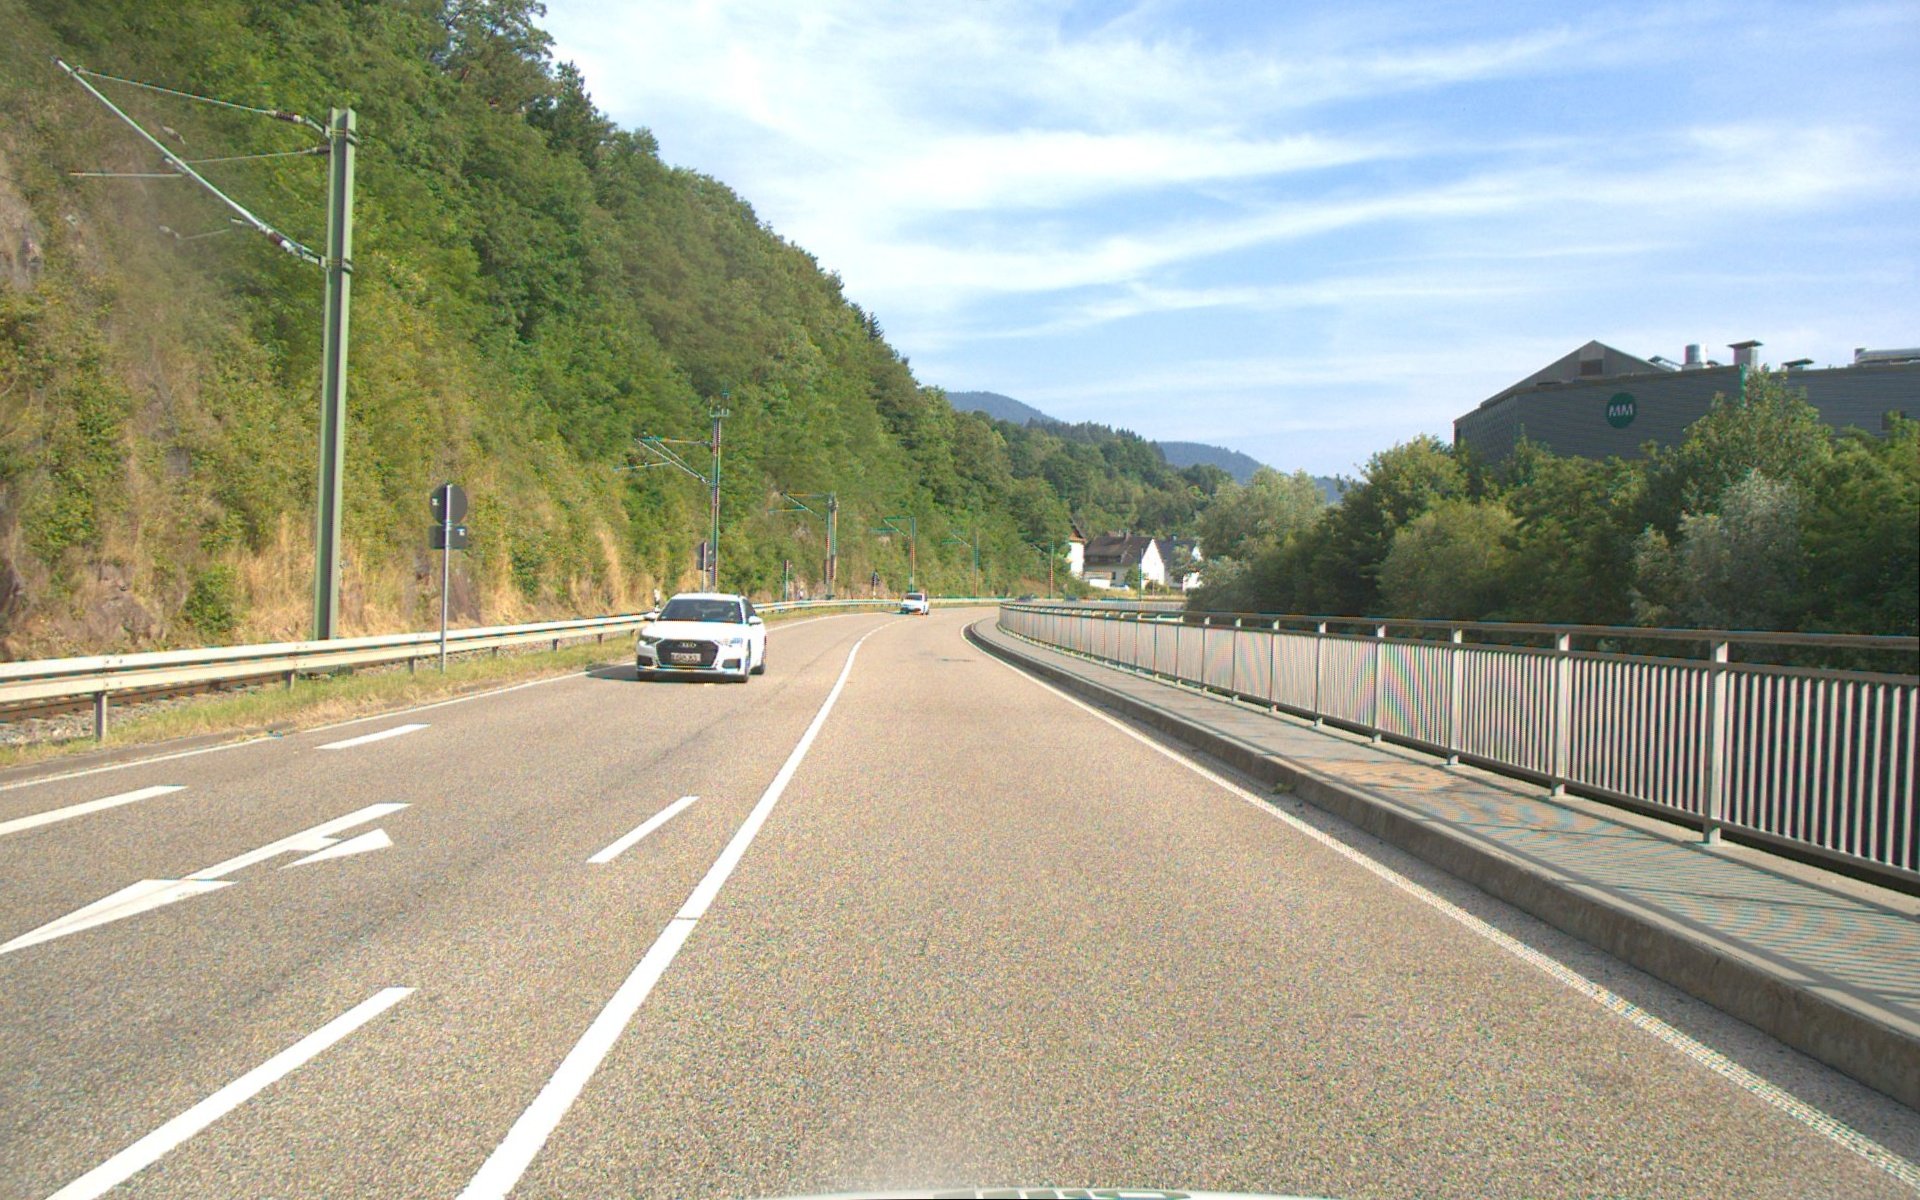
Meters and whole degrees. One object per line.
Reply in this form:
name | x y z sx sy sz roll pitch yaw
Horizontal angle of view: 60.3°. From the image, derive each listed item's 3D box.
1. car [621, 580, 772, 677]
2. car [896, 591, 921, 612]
car | -4.536 0.463 29.175 2.022 1.464 4.684 3 0 -2
car | -3.790 0.097 122.195 1.810 1.571 4.602 0 0 -2
